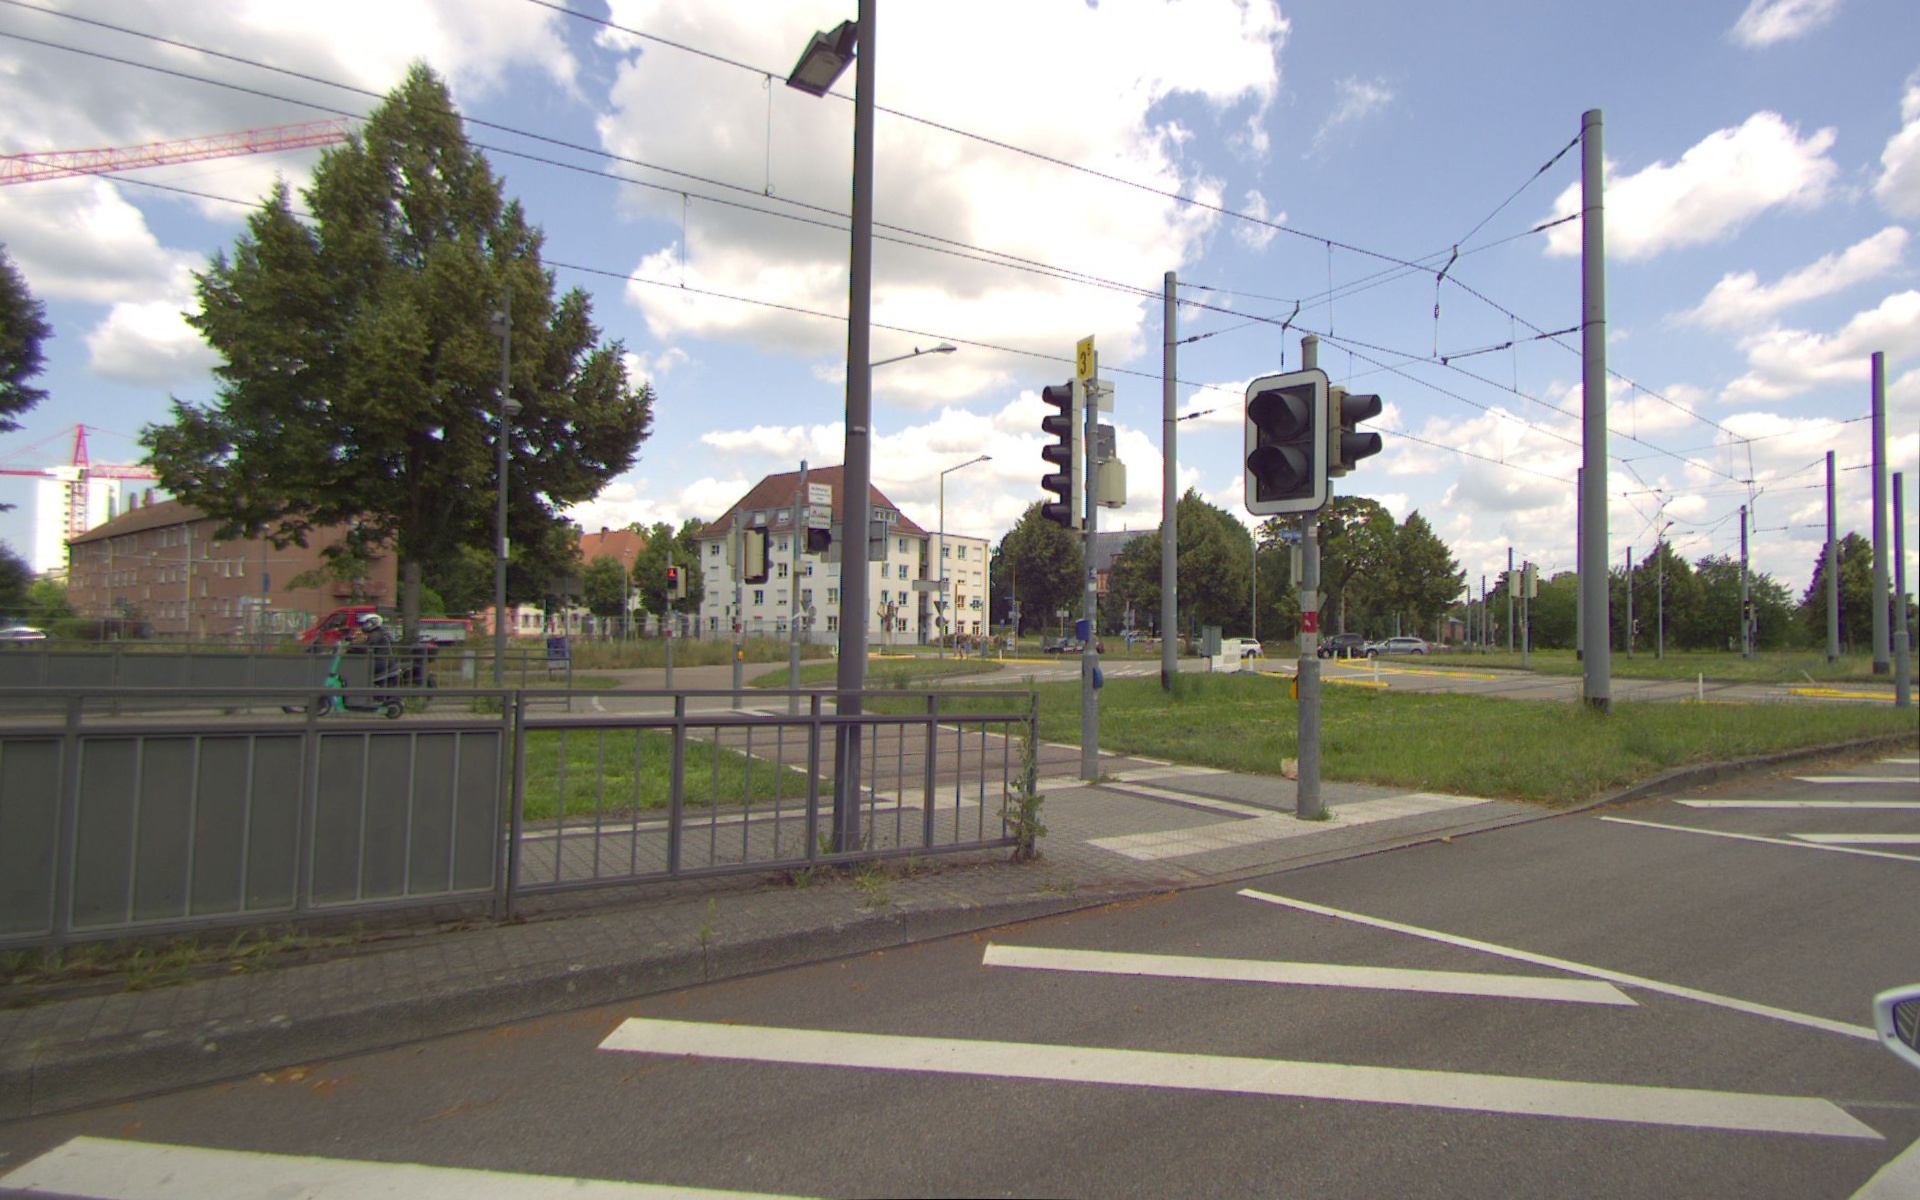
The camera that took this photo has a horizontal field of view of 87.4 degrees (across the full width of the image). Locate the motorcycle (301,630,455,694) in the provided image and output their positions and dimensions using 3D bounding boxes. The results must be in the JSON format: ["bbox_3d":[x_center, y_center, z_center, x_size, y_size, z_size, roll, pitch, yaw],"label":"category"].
[{"bbox_3d":[-9.660,1.009,16.735,2.170,1.006,0.567,1,-2,-32],"label":"motorcycle"}]

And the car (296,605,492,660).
[{"bbox_3d":[-23.554,1.378,42.111,6.714,2.226,2.391,1,-2,-10],"label":"car"}]

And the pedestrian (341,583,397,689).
[{"bbox_3d":[-9.779,0.592,16.630,0.765,1.695,0.819,1,-2,-31],"label":"pedestrian"}]

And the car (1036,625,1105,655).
[{"bbox_3d":[7.635,2.784,69.893,4.631,2.040,2.001,0,-1,2],"label":"car"}]

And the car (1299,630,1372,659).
[{"bbox_3d":[27.239,3.194,72.884,4.645,2.040,1.995,1,-2,-14],"label":"car"}]

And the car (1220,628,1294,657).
[{"bbox_3d":[20.928,2.988,70.841,4.646,2.040,1.995,1,-2,-14],"label":"car"}]

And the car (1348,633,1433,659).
[{"bbox_3d":[29.054,3.089,67.864,4.846,1.648,2.066,0,0,0],"label":"car"}]

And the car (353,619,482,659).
[{"bbox_3d":[-26.187,1.868,48.707,5.096,1.876,2.082,1,-2,-14],"label":"car"}]

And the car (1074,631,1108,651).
[{"bbox_3d":[13.325,4.148,102.186,1.965,2.040,3.991,-1,-2,31],"label":"car"}]

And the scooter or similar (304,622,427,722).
[{"bbox_3d":[-8.234,0.995,13.951,1.323,1.319,0.418,3,-2,-13],"label":"scooter or similar"}]
